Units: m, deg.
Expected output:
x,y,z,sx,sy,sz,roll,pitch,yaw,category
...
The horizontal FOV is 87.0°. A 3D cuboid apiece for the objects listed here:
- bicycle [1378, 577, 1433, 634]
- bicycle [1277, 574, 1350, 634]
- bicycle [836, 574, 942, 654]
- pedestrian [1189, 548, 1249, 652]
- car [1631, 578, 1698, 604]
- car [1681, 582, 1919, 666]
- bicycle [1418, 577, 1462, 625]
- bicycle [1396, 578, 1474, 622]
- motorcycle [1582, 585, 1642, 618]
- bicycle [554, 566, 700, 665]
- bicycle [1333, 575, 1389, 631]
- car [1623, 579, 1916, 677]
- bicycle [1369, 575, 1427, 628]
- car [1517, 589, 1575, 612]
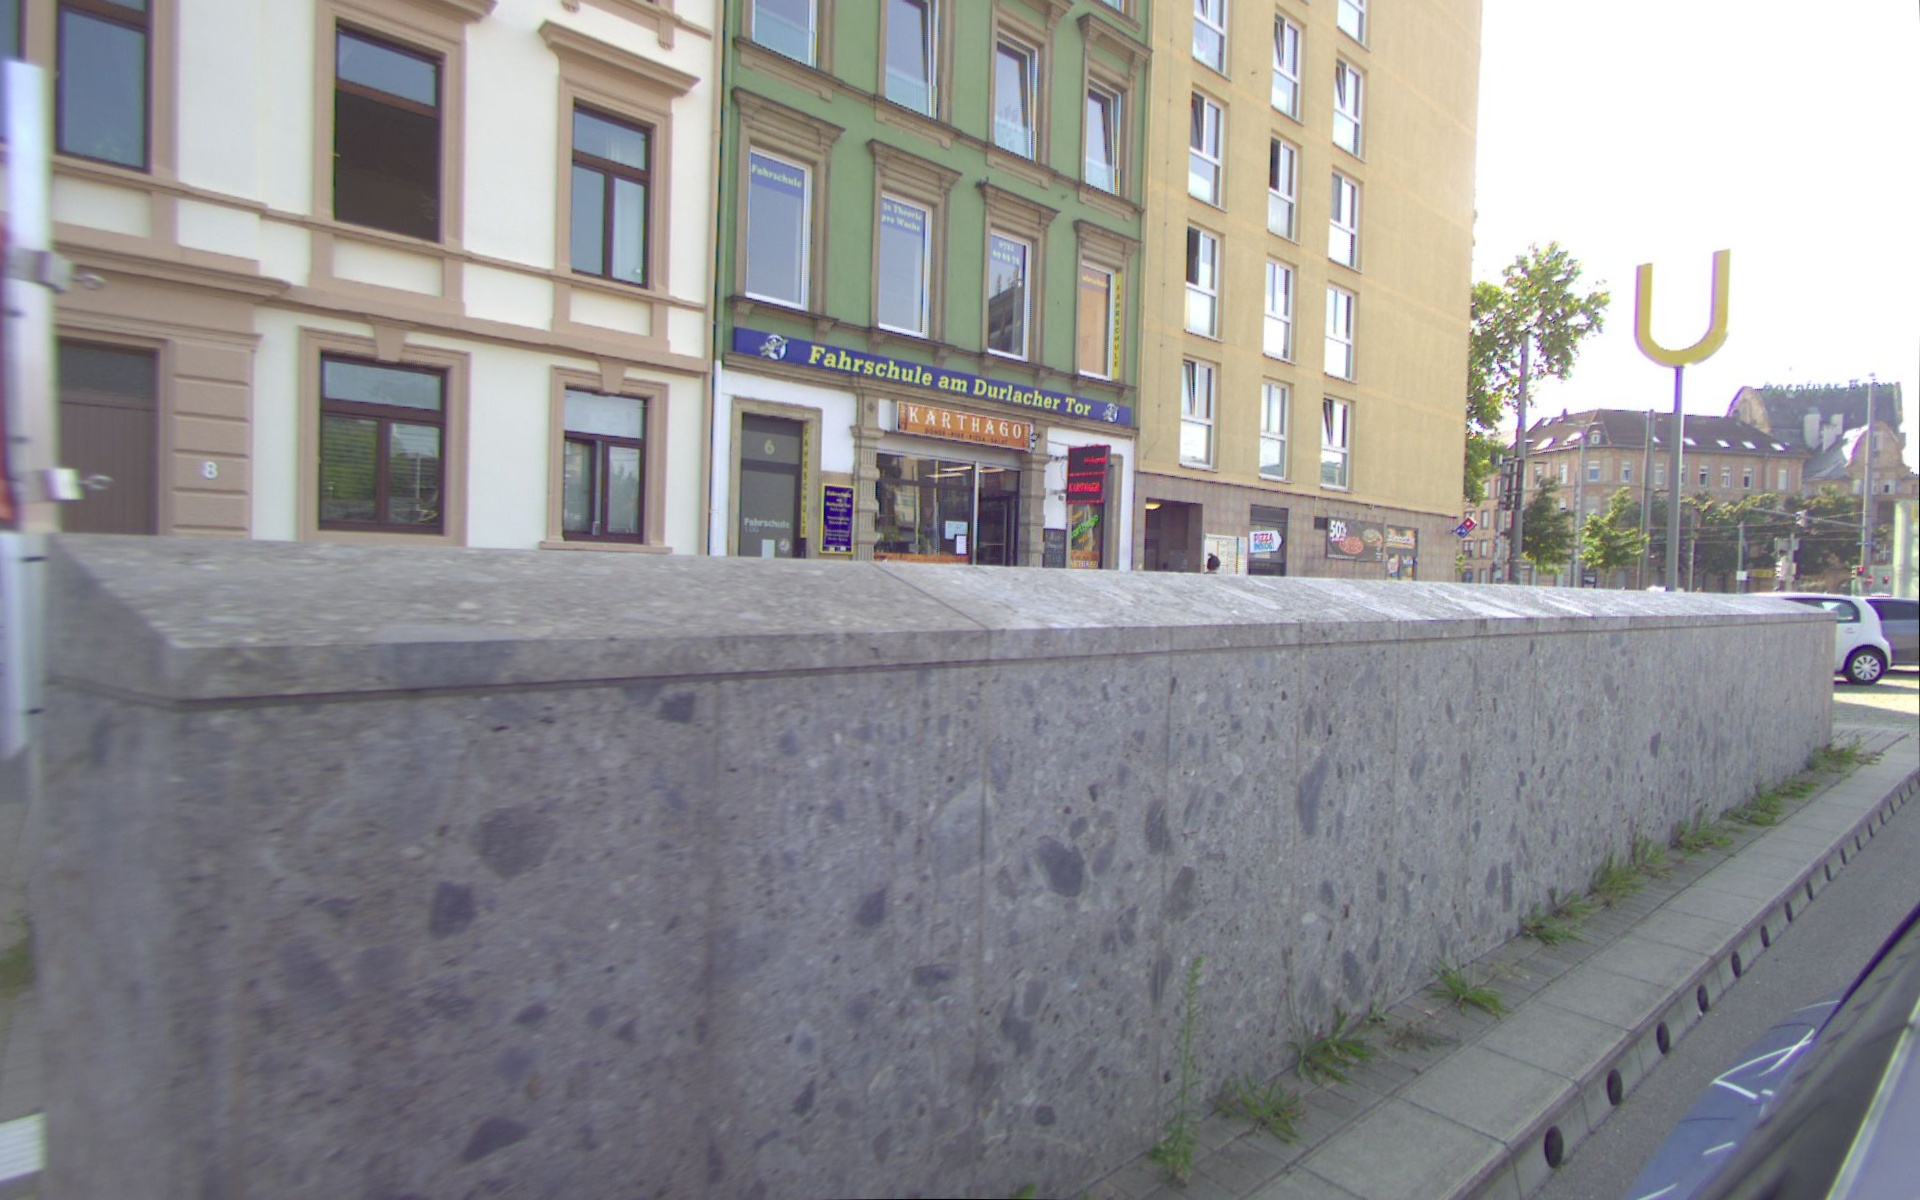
x,y,z,sx,sy,sz,roll,pitch,yaw,category
10.641,0.113,24.130,0.602,1.276,1.968,3,2,41,bicycle
7.884,0.080,22.545,1.962,1.276,0.603,0,2,-41,bicycle
-1.062,0.202,15.377,1.689,1.148,0.384,0,2,-40,bicycle
4.241,-0.010,16.574,0.724,1.649,0.610,0,2,-40,pedestrian
57.801,-0.754,83.118,1.757,1.910,4.299,3,1,-13,car
16.759,0.429,19.406,4.335,1.441,1.844,1,2,8,car
13.259,0.033,27.940,1.608,1.276,0.469,0,2,-42,bicycle
14.426,-0.017,30.752,0.659,1.221,2.021,1,2,-40,bicycle
23.714,0.054,36.792,2.253,1.161,0.707,1,1,-25,motorcycle
-4.109,0.177,12.577,1.689,1.148,0.384,0,2,-40,bicycle
9.593,0.054,24.181,0.602,1.276,1.968,3,2,41,bicycle
13.517,0.419,17.093,3.469,1.482,1.620,1,1,8,car
11.181,0.035,25.799,1.817,1.276,0.603,0,2,-42,bicycle
43.114,0.018,74.540,1.766,1.459,3.638,1,2,-9,car
